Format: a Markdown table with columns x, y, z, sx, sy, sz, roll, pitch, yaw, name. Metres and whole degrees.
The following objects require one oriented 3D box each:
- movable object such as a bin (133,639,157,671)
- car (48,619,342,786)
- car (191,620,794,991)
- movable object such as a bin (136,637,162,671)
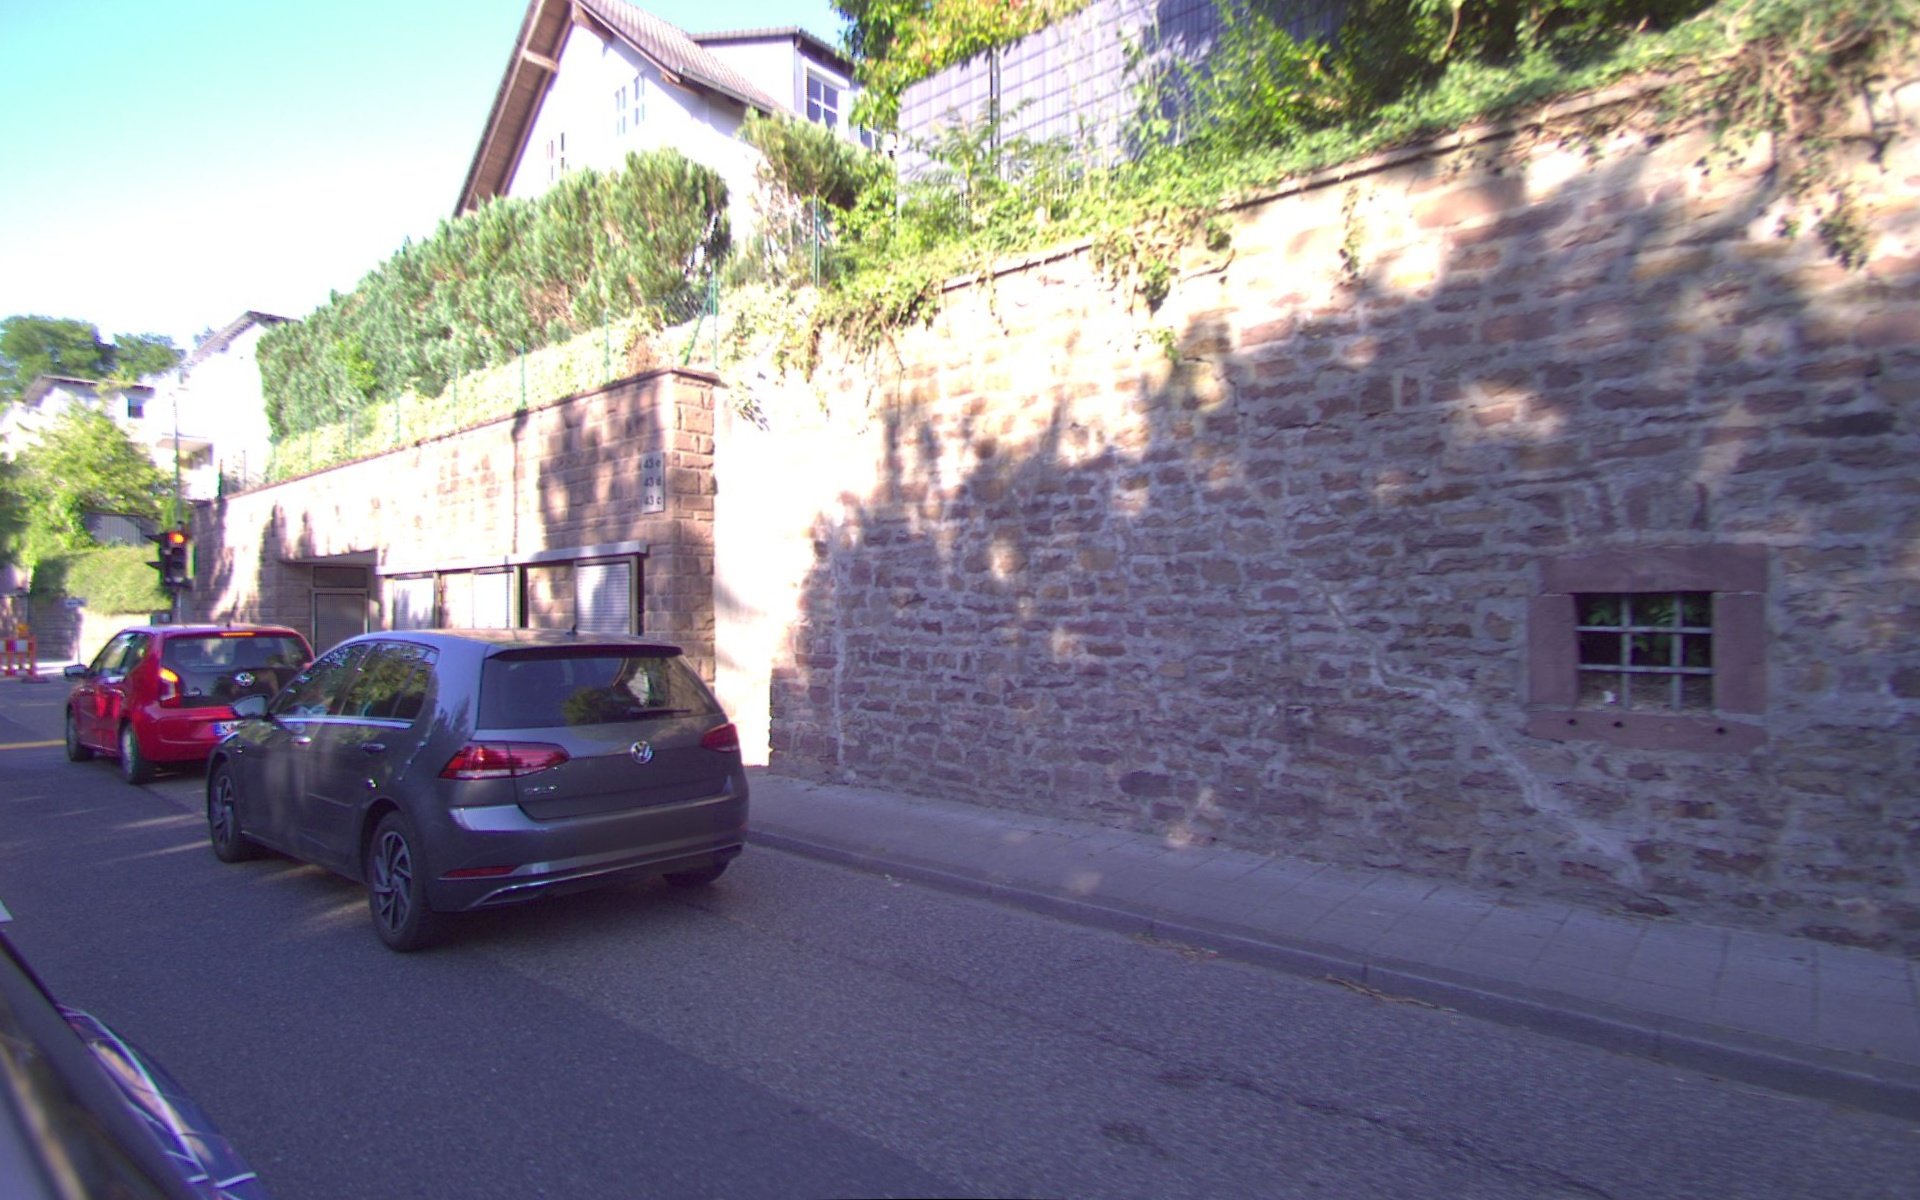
| x | y | z | sx | sy | sz | roll | pitch | yaw | name |
| --- | --- | --- | --- | --- | --- | --- | --- | --- | --- |
| -22.263 | 1.506 | 27.636 | 0.392 | 0.840 | 0.450 | -1 | -1 | 39 | movable object such as a bin |
| -8.005 | 0.925 | 10.499 | 3.559 | 1.432 | 1.611 | -1 | -2 | 39 | car |
| -2.869 | 0.835 | 5.806 | 3.928 | 1.422 | 1.632 | -1 | -2 | 40 | car |
| -21.873 | 1.461 | 27.308 | 0.500 | 0.890 | 0.452 | -2 | -1 | 39 | movable object such as a bin |
